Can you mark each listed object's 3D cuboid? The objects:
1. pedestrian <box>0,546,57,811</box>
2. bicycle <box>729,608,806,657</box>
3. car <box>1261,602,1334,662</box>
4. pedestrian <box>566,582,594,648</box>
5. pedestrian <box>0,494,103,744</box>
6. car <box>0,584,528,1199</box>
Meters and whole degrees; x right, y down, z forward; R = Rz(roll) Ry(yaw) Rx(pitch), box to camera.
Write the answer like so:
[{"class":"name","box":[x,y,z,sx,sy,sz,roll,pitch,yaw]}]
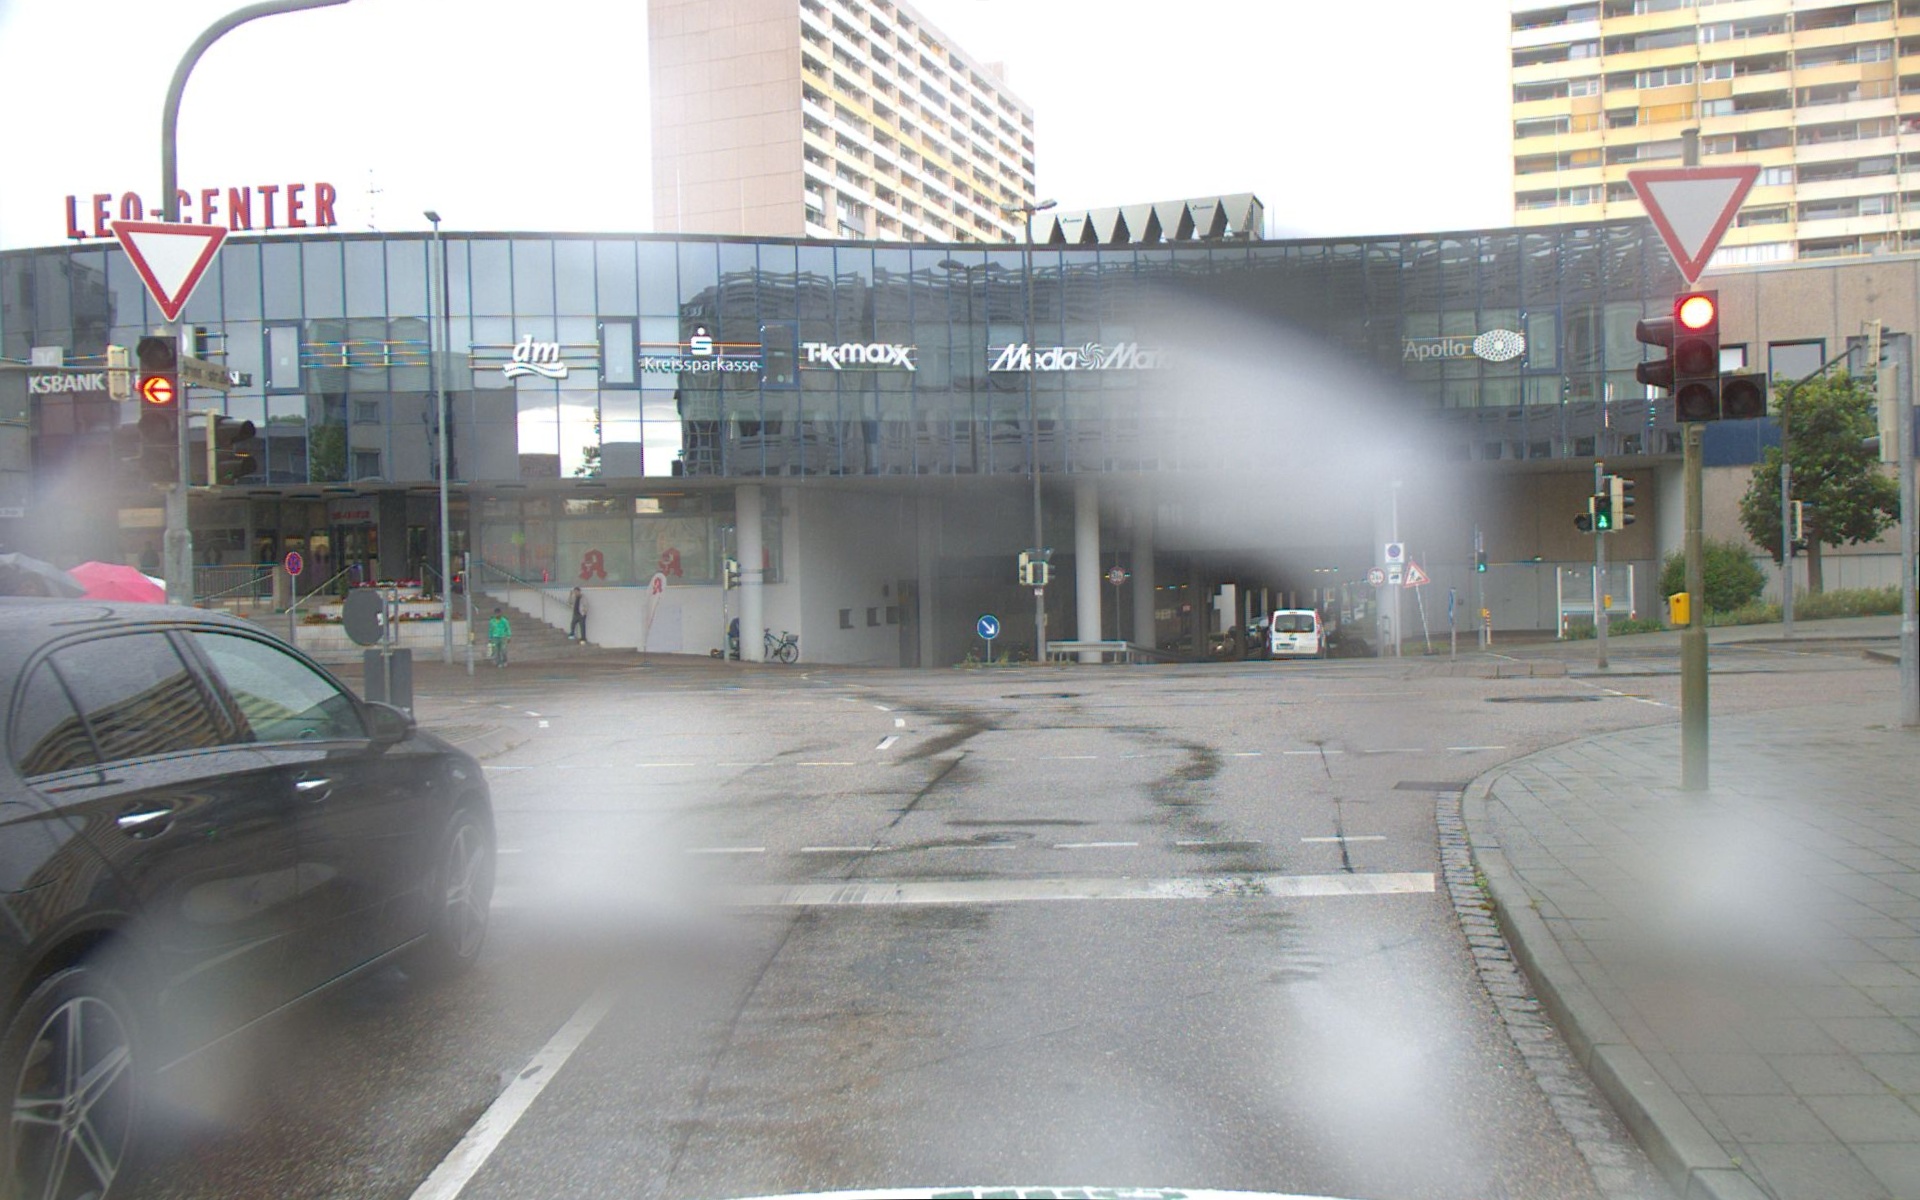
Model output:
[{"class":"pedestrian","box":[-6.480,0.484,10.671,0.742,1.688,0.905,3,0,44]},{"class":"bicycle","box":[-6.238,1.045,53.505,2.389,1.489,0.652,-1,2,-21]},{"class":"car","box":[10.765,0.978,52.577,1.951,1.747,4.003,-2,0,16]},{"class":"pedestrian","box":[-12.032,0.457,52.386,0.773,2.049,0.669,-2,0,-9]},{"class":"pedestrian","box":[-6.421,0.132,11.606,0.601,1.688,0.667,3,0,-24]},{"class":"car","box":[-2.741,0.697,4.872,1.767,1.444,4.001,-1,1,1]}]
